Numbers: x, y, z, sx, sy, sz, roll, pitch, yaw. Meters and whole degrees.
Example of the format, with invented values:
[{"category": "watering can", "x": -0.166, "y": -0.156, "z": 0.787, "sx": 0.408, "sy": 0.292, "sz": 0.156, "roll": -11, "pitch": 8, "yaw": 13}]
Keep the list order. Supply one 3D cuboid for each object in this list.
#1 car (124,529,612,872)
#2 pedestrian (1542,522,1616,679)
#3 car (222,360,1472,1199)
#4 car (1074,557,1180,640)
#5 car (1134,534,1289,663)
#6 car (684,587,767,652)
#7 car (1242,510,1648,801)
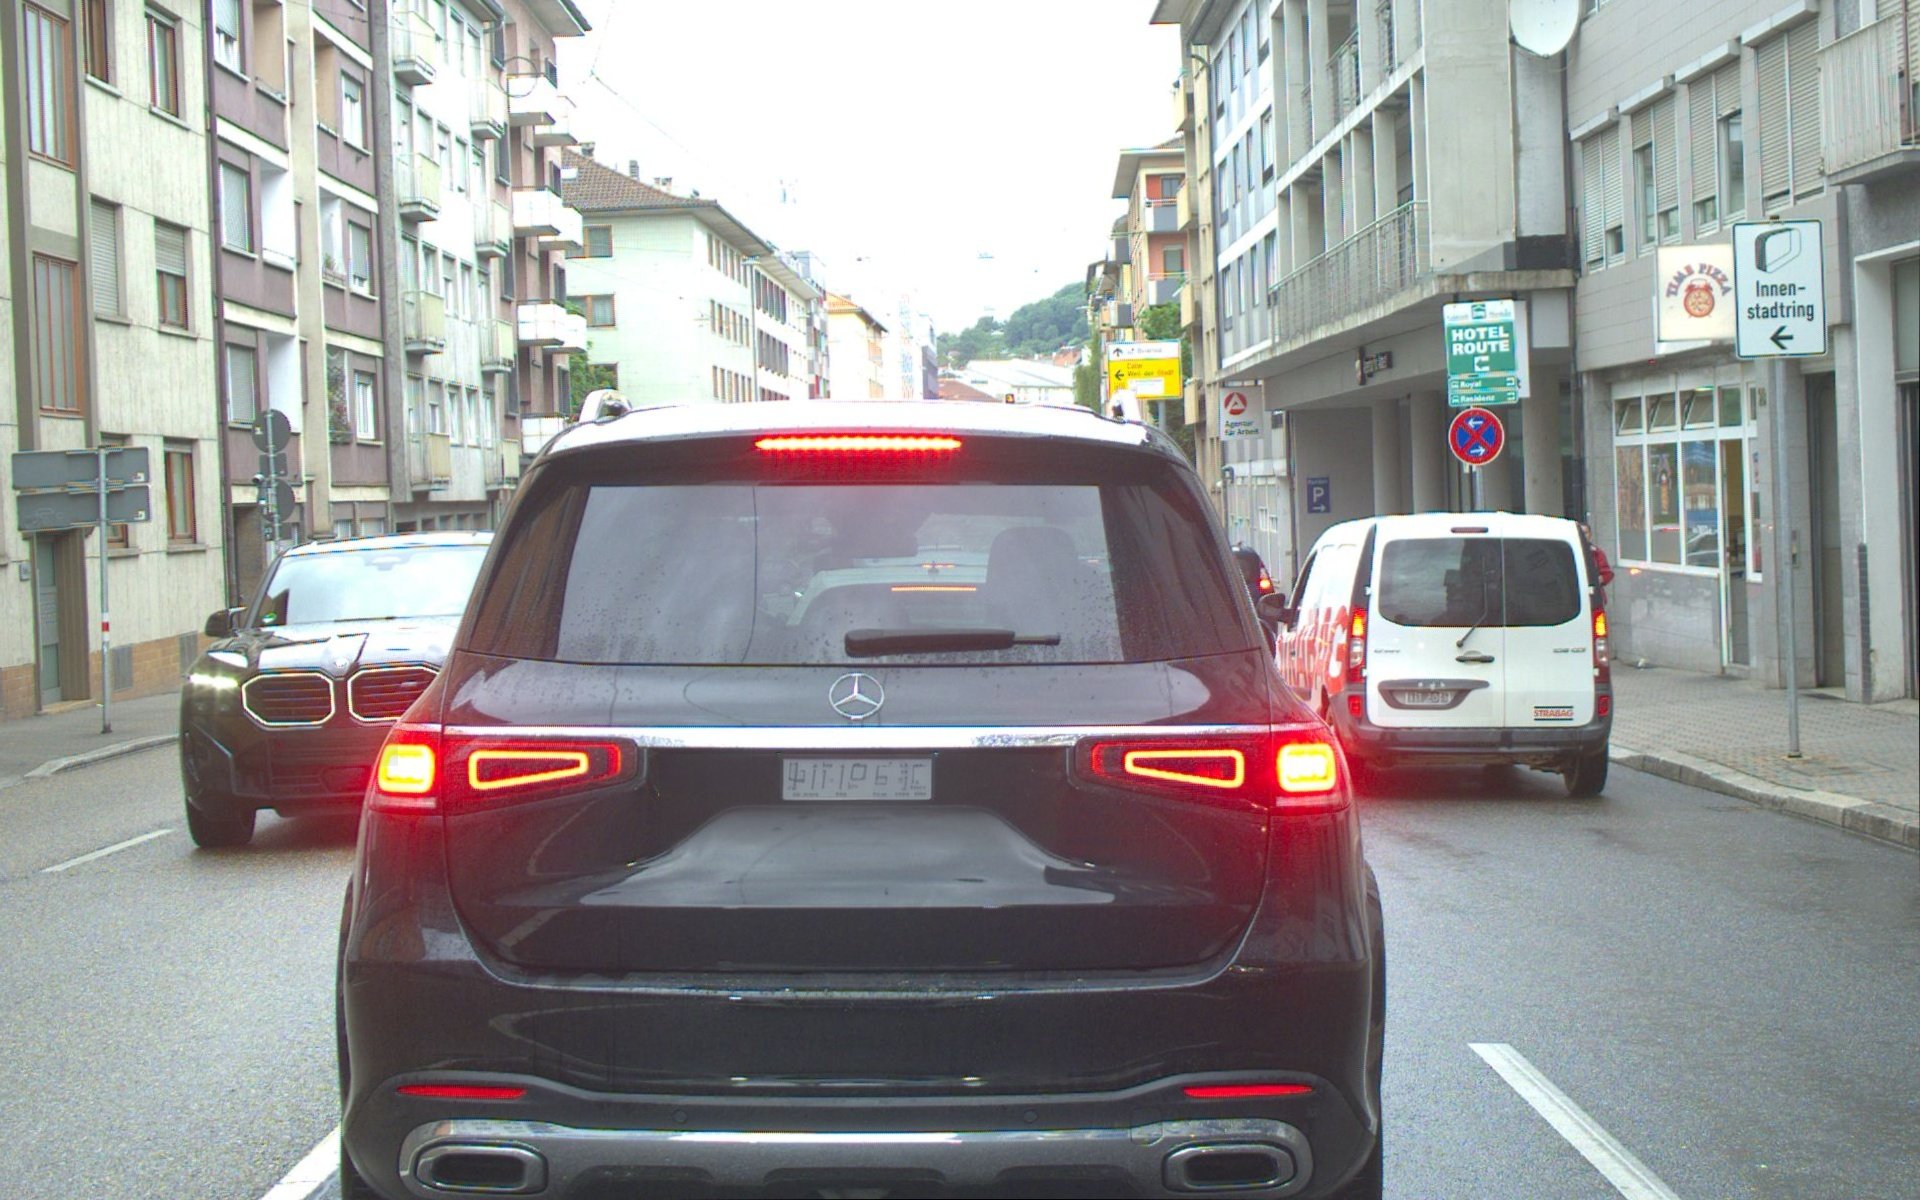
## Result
[{"category": "car", "x": -3.423, "y": 0.499, "z": 20.883, "sx": 2.126, "sy": 1.715, "sz": 4.818, "roll": -3, "pitch": 1, "yaw": -1}, {"category": "pedestrian", "x": 6.372, "y": 0.001, "z": 35.404, "sx": 0.560, "sy": 1.573, "sz": 0.526, "roll": -4, "pitch": 1, "yaw": 1}, {"category": "car", "x": -0.227, "y": 0.491, "z": 7.633, "sx": 2.025, "sy": 1.799, "sz": 4.000, "roll": 1, "pitch": 1, "yaw": -1}, {"category": "car", "x": 3.020, "y": -0.045, "z": 62.984, "sx": 1.621, "sy": 1.425, "sz": 4.312, "roll": 1, "pitch": 1, "yaw": -1}, {"category": "car", "x": 3.237, "y": -0.052, "z": 44.879, "sx": 1.808, "sy": 1.600, "sz": 4.212, "roll": 0, "pitch": 1, "yaw": 1}, {"category": "car", "x": -5.584, "y": 0.444, "z": 82.263, "sx": 1.767, "sy": 1.341, "sz": 3.889, "roll": -5, "pitch": 1, "yaw": -2}, {"category": "car", "x": 3.154, "y": 0.301, "z": 23.332, "sx": 1.940, "sy": 1.769, "sz": 4.747, "roll": 0, "pitch": 1, "yaw": -2}]
